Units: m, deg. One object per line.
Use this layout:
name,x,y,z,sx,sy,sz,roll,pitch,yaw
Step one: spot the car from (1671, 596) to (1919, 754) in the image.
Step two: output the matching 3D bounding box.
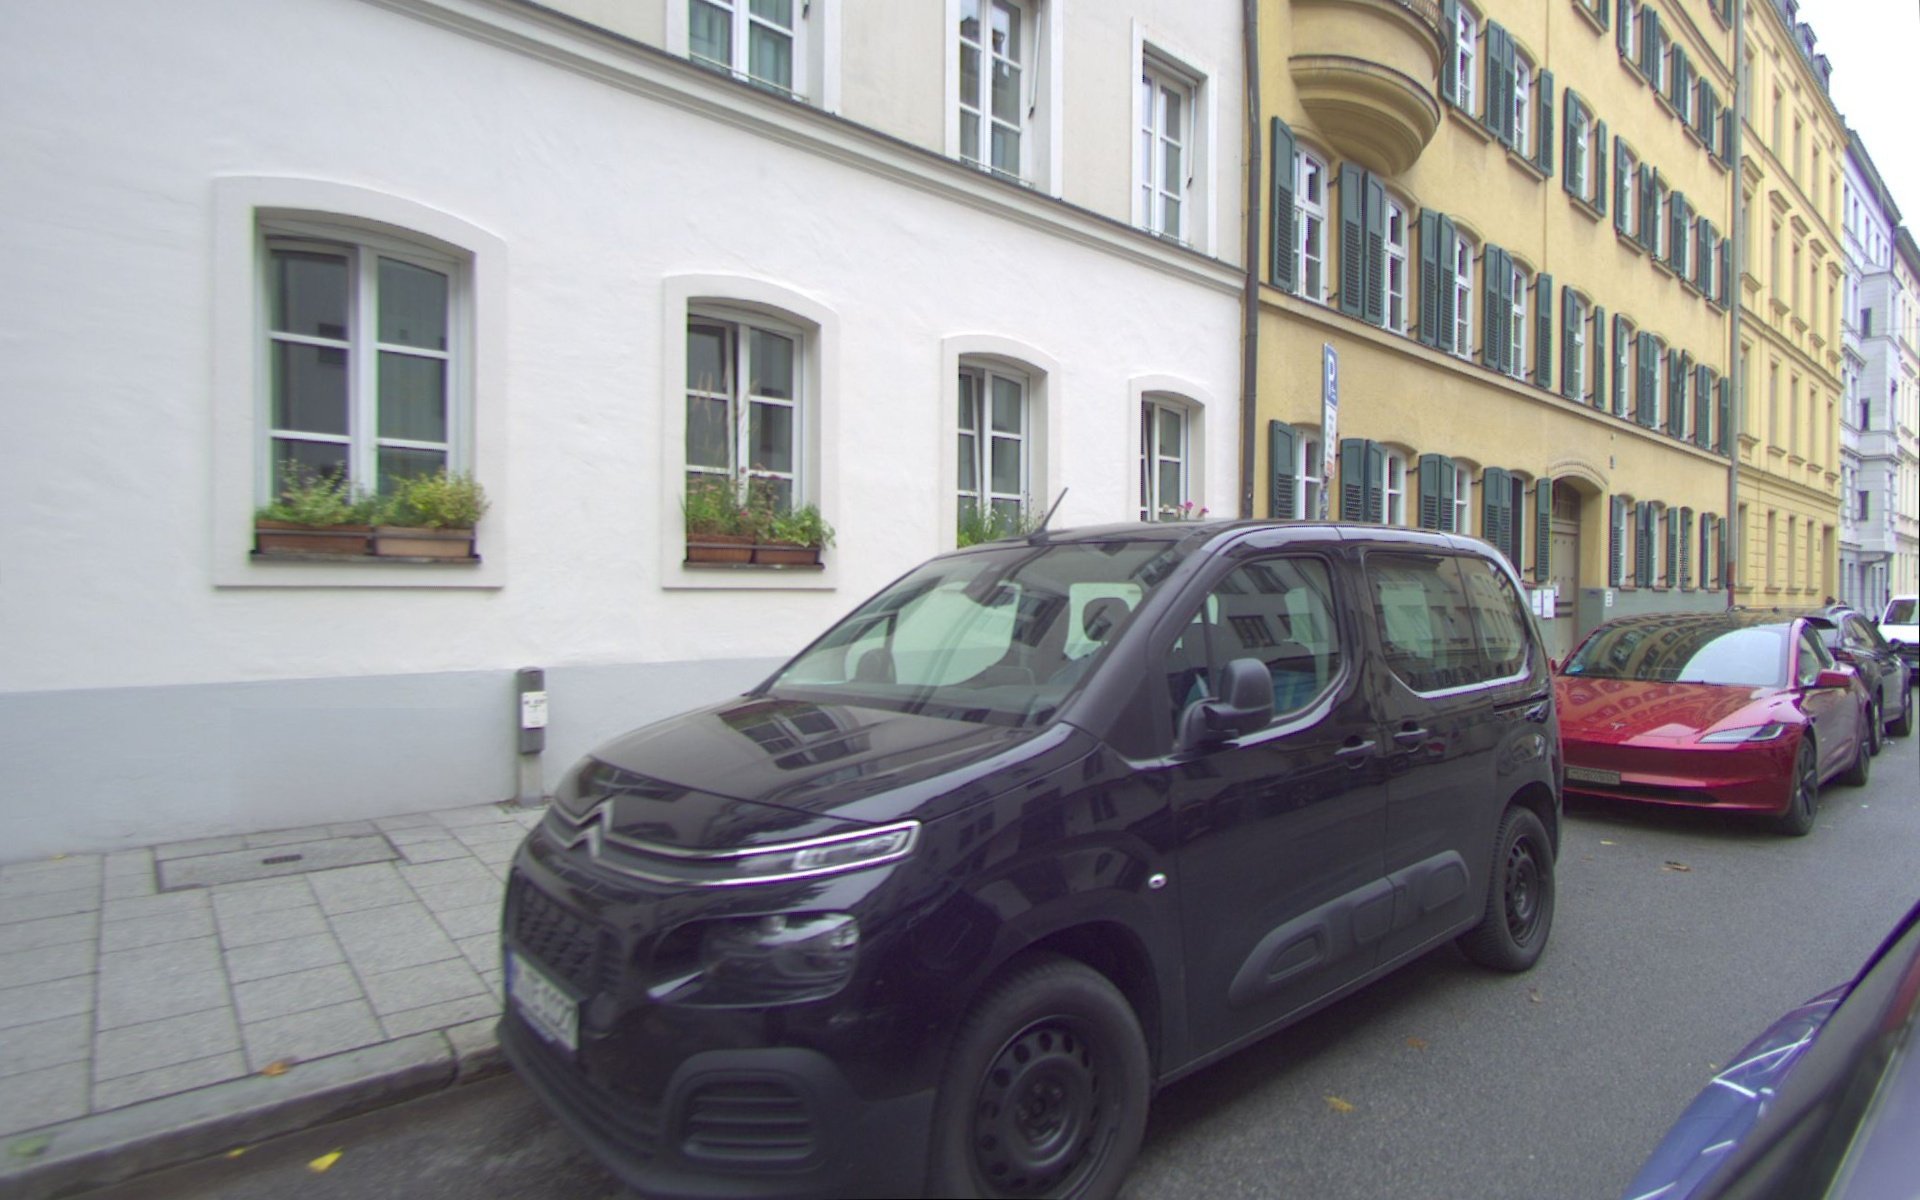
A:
car,9.846,0.736,11.698,3.929,1.482,1.749,1,1,-41

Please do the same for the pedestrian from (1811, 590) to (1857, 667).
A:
pedestrian,19.671,0.638,22.777,0.881,1.658,0.598,1,3,-43

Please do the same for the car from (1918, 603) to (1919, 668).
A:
car,24.796,0.879,24.653,4.509,1.529,1.818,0,1,-43

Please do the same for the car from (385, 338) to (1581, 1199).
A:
car,0.464,0.494,3.632,4.128,1.799,1.849,0,-1,-41

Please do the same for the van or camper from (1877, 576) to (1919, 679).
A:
van or camper,21.104,0.569,21.402,5.142,2.039,1.997,1,1,-42

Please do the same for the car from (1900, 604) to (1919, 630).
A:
car,58.794,1.061,60.289,1.683,1.585,3.992,1,1,-43

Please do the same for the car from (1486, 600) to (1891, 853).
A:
car,5.949,0.738,8.033,4.381,1.441,1.716,0,1,-42
